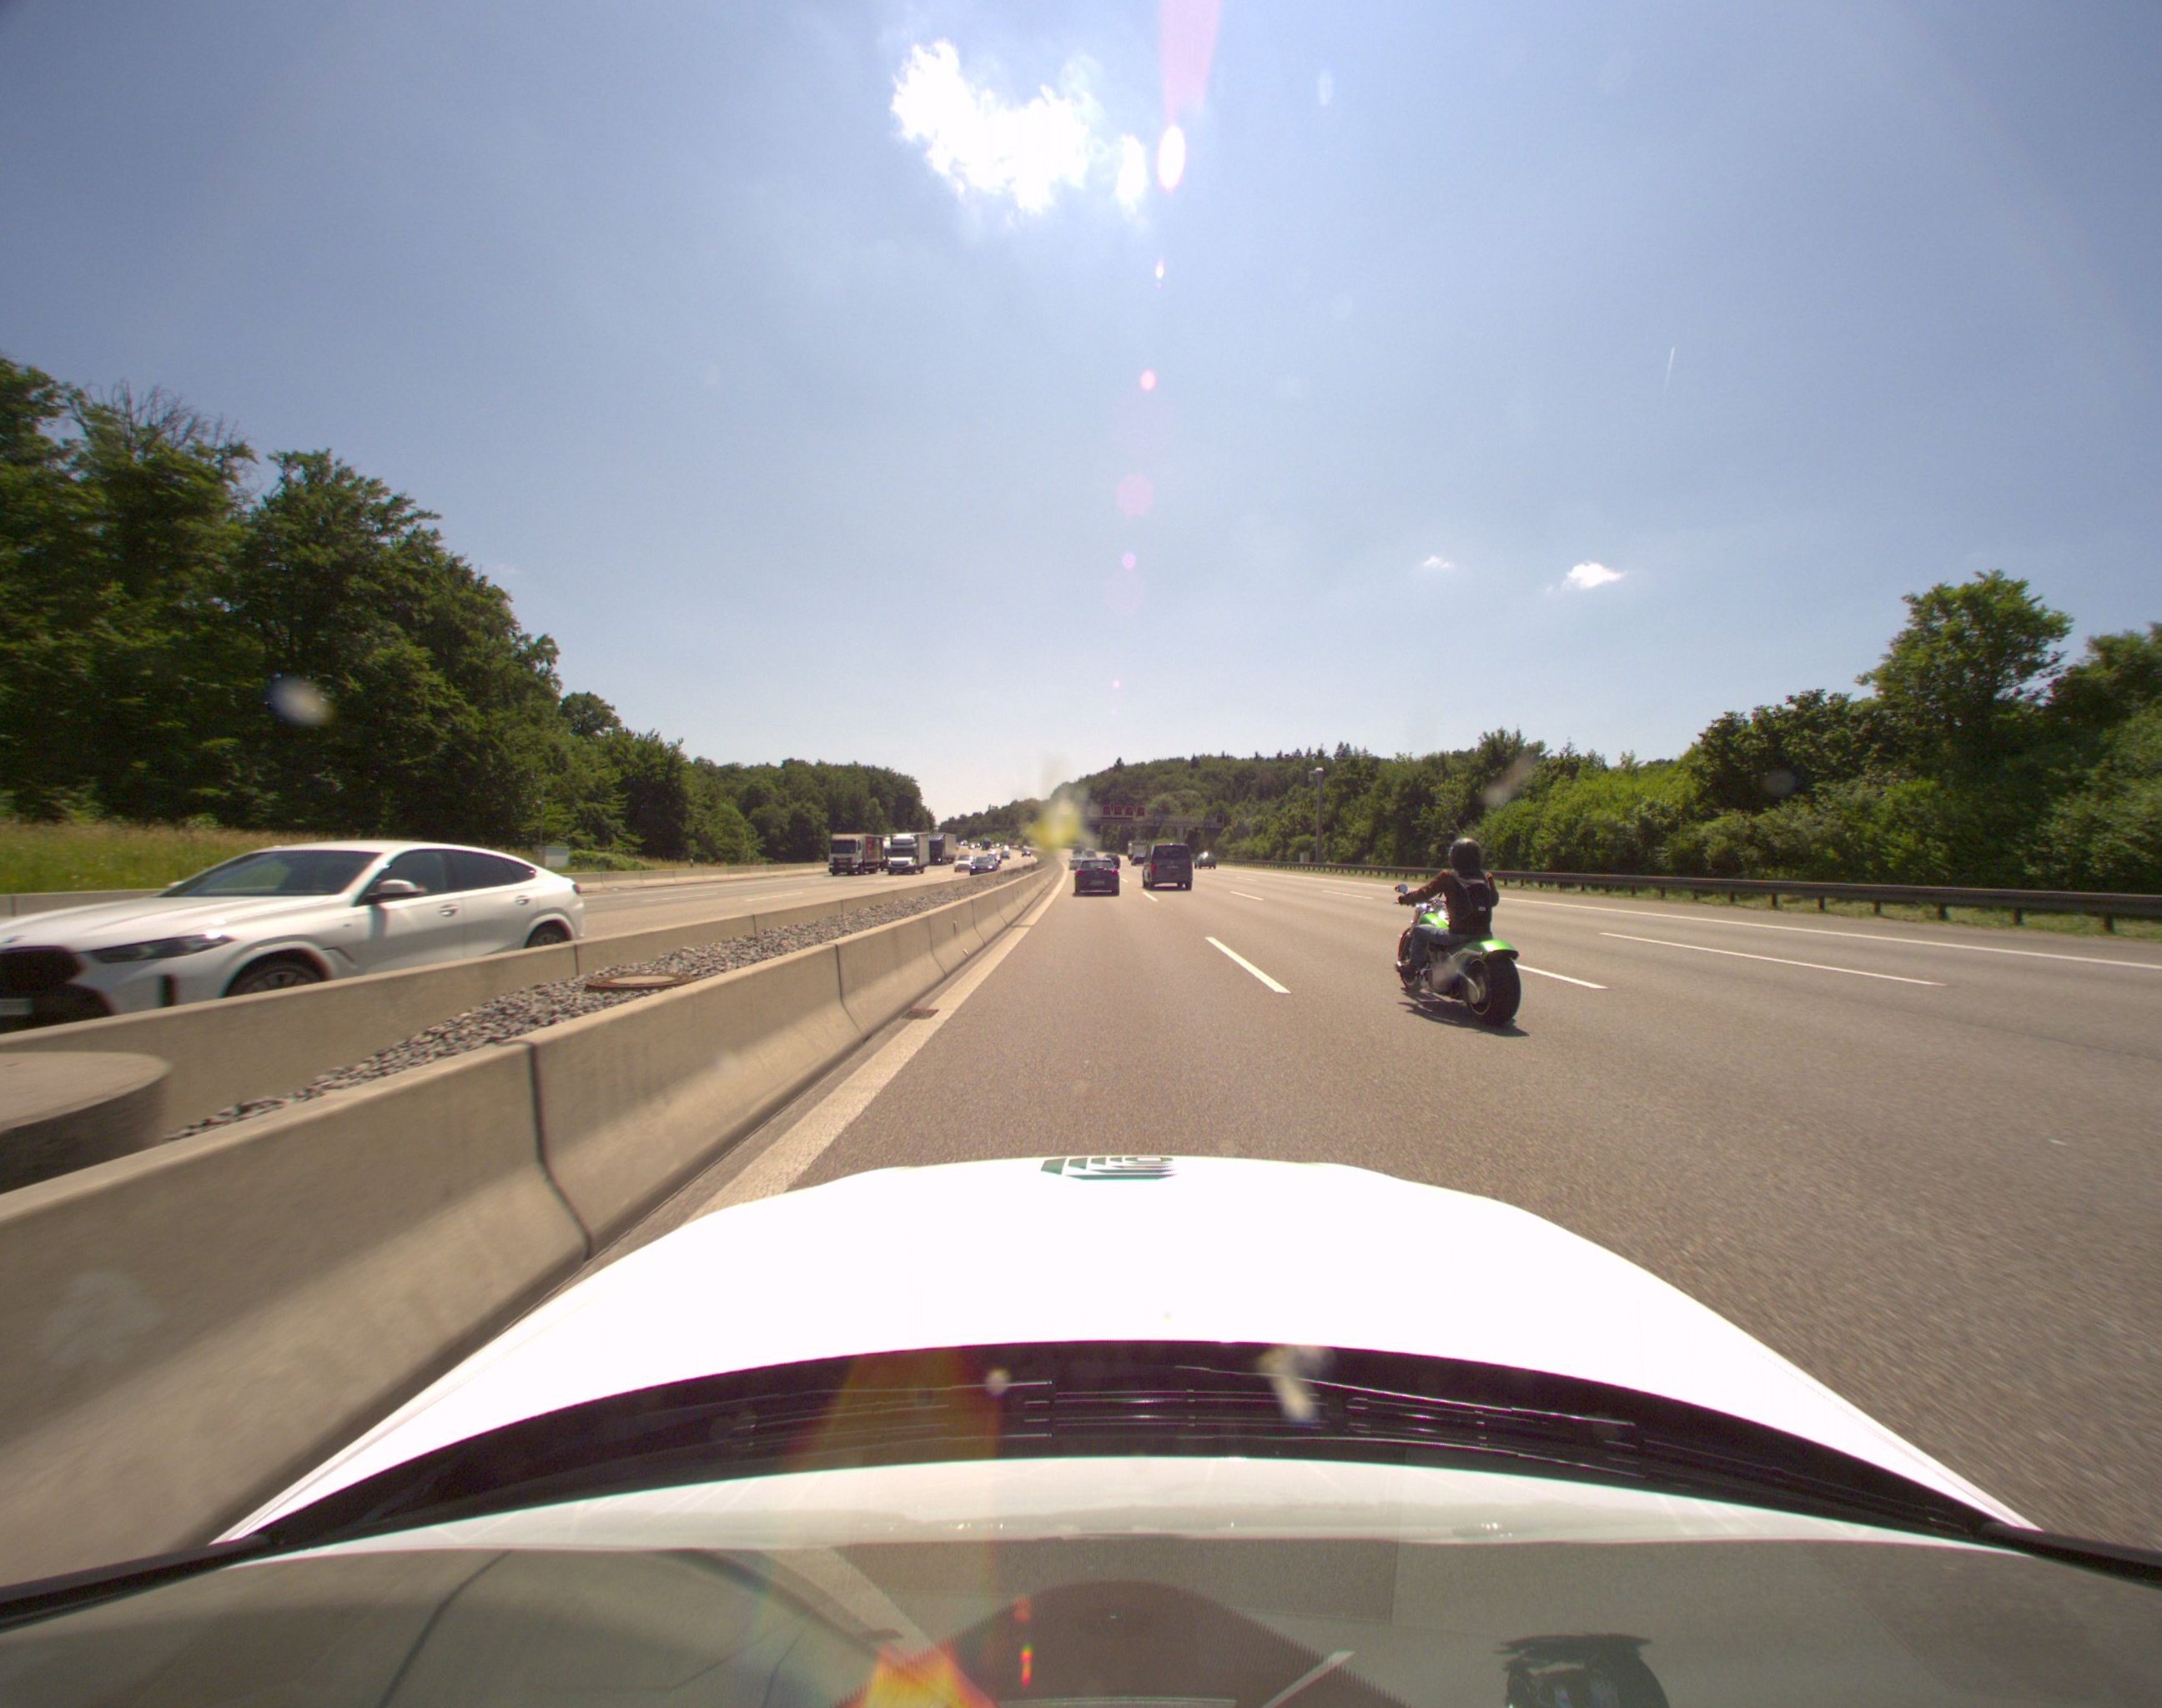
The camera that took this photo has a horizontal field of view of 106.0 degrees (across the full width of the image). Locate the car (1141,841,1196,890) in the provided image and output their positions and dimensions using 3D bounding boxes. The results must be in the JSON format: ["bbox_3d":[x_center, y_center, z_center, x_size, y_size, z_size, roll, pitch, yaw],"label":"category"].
[{"bbox_3d":[3.861,0.485,36.675,1.956,2.033,5.083,-1,0,0],"label":"car"}]

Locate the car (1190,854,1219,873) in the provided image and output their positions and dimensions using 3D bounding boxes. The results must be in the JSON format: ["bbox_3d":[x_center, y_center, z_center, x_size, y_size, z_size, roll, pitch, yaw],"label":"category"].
[{"bbox_3d":[11.651,0.902,76.865,1.988,1.728,3.997,0,-1,-2],"label":"car"}]

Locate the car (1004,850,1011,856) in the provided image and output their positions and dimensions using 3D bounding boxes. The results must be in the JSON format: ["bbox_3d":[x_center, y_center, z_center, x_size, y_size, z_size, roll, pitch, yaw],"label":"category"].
[{"bbox_3d":[-20.737,-0.213,230.347,1.751,1.635,4.633,0,1,-4],"label":"car"}]

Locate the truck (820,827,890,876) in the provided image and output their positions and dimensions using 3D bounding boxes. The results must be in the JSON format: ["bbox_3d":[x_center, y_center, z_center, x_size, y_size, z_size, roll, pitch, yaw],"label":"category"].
[{"bbox_3d":[-18.125,-0.070,66.028,2.859,3.697,9.241,1,-1,1],"label":"truck"}]

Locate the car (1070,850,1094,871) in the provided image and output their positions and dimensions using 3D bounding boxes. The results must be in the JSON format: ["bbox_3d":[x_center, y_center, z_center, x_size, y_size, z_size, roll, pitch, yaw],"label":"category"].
[{"bbox_3d":[0.113,0.637,77.719,2.003,1.846,4.004,-1,-2,5],"label":"car"}]

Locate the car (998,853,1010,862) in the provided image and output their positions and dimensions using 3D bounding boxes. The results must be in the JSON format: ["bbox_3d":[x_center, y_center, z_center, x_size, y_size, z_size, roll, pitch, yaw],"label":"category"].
[{"bbox_3d":[-14.036,0.631,148.272,1.756,1.520,4.358,1,-1,-2],"label":"car"}]

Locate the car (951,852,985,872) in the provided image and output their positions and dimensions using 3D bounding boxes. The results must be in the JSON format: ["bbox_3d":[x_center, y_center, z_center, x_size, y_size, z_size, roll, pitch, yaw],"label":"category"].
[{"bbox_3d":[-10.156,0.714,73.351,2.279,1.728,5.031,-1,0,1],"label":"car"}]

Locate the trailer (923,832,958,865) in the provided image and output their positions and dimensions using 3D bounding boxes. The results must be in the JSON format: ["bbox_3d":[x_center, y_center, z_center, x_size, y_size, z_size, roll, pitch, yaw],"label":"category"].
[{"bbox_3d":[-19.108,-0.719,111.610,2.857,4.262,13.948,-1,0,-2],"label":"trailer"}]

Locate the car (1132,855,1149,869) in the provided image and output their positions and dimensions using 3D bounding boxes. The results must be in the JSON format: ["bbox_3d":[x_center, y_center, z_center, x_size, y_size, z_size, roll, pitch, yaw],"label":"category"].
[{"bbox_3d":[6.877,0.911,94.544,1.660,1.408,4.904,0,1,1],"label":"car"}]

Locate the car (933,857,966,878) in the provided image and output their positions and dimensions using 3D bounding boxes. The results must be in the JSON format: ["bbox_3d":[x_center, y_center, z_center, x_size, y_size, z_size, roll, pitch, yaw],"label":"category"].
[{"bbox_3d":[-11.198,1.117,69.487,1.986,1.728,4.002,-1,0,2],"label":"car"}]

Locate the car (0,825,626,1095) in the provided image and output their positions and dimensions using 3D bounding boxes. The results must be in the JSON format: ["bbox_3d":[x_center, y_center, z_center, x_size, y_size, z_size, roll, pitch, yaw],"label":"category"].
[{"bbox_3d":[-7.013,0.699,7.959,1.981,1.737,5.346,1,0,2],"label":"car"}]

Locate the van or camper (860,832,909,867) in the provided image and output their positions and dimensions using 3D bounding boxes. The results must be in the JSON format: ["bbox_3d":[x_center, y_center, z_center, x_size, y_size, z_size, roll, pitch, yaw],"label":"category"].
[{"bbox_3d":[-19.099,-0.374,79.743,2.755,3.125,8.093,1,-1,0],"label":"van or camper"}]

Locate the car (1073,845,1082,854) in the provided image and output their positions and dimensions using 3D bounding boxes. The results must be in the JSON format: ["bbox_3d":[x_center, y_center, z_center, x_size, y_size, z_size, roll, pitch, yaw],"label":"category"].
[{"bbox_3d":[-0.903,-1.134,204.865,2.257,2.371,4.703,0,0,1],"label":"car"}]

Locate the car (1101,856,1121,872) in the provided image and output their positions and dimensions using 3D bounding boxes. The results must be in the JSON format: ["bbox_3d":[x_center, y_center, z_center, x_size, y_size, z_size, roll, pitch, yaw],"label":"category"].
[{"bbox_3d":[3.267,1.076,89.398,1.988,1.728,4.146,-1,-1,-2],"label":"car"}]

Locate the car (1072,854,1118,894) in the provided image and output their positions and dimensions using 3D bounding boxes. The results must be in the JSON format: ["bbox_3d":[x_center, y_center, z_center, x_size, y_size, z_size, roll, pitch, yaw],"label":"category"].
[{"bbox_3d":[0.541,0.727,31.967,1.702,1.433,4.000,0,1,1],"label":"car"}]

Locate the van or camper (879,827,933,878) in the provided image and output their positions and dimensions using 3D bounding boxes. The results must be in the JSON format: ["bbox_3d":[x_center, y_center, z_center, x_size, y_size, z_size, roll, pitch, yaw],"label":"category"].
[{"bbox_3d":[-14.079,-0.051,66.155,2.822,3.839,8.207,1,-1,-2],"label":"van or camper"}]

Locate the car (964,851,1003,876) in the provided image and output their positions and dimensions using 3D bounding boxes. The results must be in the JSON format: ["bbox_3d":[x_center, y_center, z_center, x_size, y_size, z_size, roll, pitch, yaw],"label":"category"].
[{"bbox_3d":[-6.754,0.640,56.885,1.986,1.590,4.846,-1,0,2],"label":"car"}]

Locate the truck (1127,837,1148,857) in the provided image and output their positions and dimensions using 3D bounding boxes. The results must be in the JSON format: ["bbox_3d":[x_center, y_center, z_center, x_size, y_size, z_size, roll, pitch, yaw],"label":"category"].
[{"bbox_3d":[9.149,-1.221,132.124,2.975,3.166,7.576,0,1,1],"label":"truck"}]

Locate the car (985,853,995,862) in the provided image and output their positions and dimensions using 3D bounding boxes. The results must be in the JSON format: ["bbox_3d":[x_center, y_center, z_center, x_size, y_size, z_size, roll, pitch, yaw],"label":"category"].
[{"bbox_3d":[-20.871,0.729,187.301,1.989,2.014,3.995,1,-1,-3],"label":"car"}]

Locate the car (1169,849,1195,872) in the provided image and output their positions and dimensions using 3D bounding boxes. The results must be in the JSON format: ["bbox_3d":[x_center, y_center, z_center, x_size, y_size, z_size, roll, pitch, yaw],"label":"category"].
[{"bbox_3d":[7.883,0.535,63.578,1.841,1.728,4.005,-1,-1,5],"label":"car"}]

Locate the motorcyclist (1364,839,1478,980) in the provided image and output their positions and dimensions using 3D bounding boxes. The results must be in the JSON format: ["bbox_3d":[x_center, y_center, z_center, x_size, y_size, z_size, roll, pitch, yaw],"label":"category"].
[{"bbox_3d":[3.634,0.568,8.801,0.849,1.427,1.024,-1,0,4],"label":"motorcyclist"}]

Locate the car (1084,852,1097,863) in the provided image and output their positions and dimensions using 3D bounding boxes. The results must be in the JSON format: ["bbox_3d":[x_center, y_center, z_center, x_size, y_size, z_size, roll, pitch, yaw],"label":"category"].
[{"bbox_3d":[1.627,0.599,135.334,2.096,1.744,4.687,0,1,0],"label":"car"}]

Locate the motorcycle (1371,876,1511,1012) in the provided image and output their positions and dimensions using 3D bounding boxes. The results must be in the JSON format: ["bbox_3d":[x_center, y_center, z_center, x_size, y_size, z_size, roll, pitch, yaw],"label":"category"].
[{"bbox_3d":[3.631,0.833,8.452,0.533,1.135,2.440,-1,0,5],"label":"motorcycle"}]

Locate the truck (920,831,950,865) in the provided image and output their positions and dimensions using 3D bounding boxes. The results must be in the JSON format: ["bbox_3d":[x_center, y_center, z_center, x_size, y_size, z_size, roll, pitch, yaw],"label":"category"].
[{"bbox_3d":[-18.875,-0.778,105.288,2.869,4.290,6.448,-1,0,-2],"label":"truck"}]

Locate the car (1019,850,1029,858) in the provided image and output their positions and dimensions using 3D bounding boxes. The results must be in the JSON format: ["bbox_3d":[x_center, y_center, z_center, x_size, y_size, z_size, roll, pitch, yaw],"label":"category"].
[{"bbox_3d":[-12.471,-0.003,178.014,1.988,1.667,4.431,0,0,-2],"label":"car"}]
